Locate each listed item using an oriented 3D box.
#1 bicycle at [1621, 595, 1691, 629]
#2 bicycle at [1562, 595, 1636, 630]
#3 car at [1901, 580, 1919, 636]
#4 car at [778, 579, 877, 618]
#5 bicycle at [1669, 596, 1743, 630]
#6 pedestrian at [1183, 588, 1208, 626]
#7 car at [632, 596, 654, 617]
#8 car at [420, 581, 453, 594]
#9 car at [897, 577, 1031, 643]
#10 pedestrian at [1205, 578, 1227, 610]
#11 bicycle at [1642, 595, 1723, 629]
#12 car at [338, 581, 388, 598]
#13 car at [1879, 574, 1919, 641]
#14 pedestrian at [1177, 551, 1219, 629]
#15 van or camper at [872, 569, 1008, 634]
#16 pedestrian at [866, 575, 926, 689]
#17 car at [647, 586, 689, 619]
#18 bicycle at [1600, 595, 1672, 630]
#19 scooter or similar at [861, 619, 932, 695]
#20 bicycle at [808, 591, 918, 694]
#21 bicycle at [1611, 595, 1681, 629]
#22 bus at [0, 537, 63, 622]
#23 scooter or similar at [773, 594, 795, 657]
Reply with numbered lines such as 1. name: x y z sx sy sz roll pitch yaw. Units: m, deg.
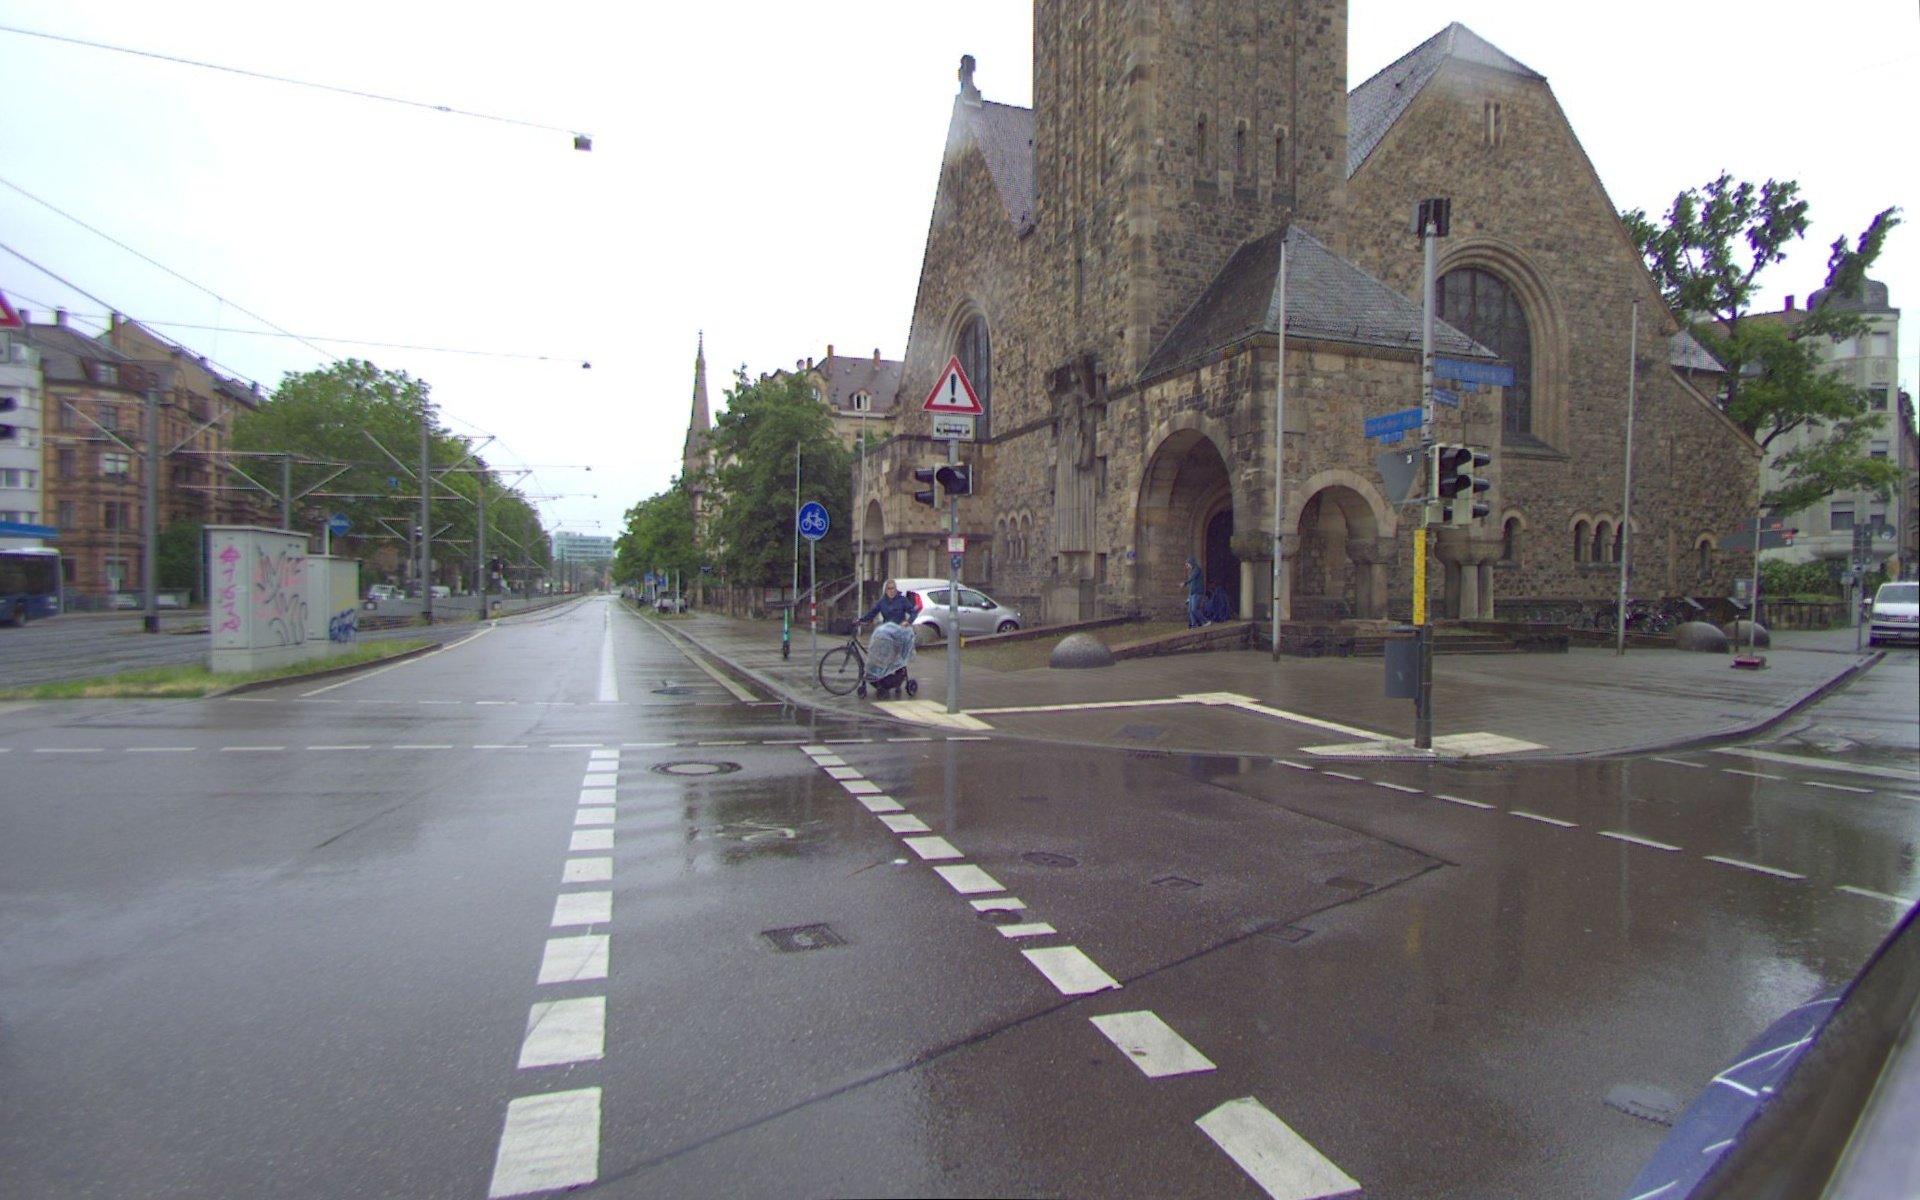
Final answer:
1. bicycle: 23.310 0.386 33.942 0.569 1.074 1.932 0 1 -22
2. bicycle: 20.834 0.385 33.043 0.565 1.062 2.013 0 1 -26
3. car: 34.157 0.270 35.205 4.225 1.869 1.834 -1 2 -44
4. car: -5.763 -0.081 43.922 3.916 1.638 2.004 0 1 -19
5. bicycle: 25.065 0.428 34.057 0.593 1.080 1.987 0 1 -21
6. pedestrian: 5.596 0.152 24.077 0.388 0.895 0.457 0 0 -23
7. car: -29.168 0.567 93.116 1.744 1.799 4.008 0 1 -20
8. car: -68.810 -1.621 133.078 3.740 1.644 1.780 0 1 -20
9. car: 0.090 0.248 28.363 3.289 1.593 1.740 -4 2 -17
10. pedestrian: 7.134 -0.165 28.188 0.447 0.895 0.397 0 0 -21
11. bicycle: 24.169 0.391 33.901 0.664 1.073 2.160 0 1 -22
12. car: -56.936 -1.013 96.567 3.758 1.644 1.771 0 1 -45
13. car: 29.532 0.201 30.853 5.185 1.946 1.906 -1 2 -44
14. pedestrian: 5.412 -0.230 23.037 0.664 1.724 0.635 0 0 -23
15. van or camper: -0.626 0.012 31.680 3.848 1.749 1.652 -4 2 -20
16. pedestrian: -0.973 0.468 15.468 0.677 1.684 0.604 1 0 -40
17. car: -17.198 0.101 59.481 1.939 1.816 4.008 0 1 -23
18. bicycle: 22.170 0.391 33.231 0.569 1.074 1.932 0 1 -24
19. scooter or similar: -0.923 0.815 14.819 0.908 1.062 0.514 0 0 -41
20. bicycle: -1.456 0.605 15.544 0.530 1.485 1.915 1 0 36
21. bicycle: 22.737 0.378 33.576 0.569 1.074 1.932 0 1 -22
22. bus: -36.432 -0.751 35.823 2.832 3.152 12.127 0 1 -21
23. scooter or similar: -4.064 0.569 23.351 0.280 1.404 1.106 0 0 -21
